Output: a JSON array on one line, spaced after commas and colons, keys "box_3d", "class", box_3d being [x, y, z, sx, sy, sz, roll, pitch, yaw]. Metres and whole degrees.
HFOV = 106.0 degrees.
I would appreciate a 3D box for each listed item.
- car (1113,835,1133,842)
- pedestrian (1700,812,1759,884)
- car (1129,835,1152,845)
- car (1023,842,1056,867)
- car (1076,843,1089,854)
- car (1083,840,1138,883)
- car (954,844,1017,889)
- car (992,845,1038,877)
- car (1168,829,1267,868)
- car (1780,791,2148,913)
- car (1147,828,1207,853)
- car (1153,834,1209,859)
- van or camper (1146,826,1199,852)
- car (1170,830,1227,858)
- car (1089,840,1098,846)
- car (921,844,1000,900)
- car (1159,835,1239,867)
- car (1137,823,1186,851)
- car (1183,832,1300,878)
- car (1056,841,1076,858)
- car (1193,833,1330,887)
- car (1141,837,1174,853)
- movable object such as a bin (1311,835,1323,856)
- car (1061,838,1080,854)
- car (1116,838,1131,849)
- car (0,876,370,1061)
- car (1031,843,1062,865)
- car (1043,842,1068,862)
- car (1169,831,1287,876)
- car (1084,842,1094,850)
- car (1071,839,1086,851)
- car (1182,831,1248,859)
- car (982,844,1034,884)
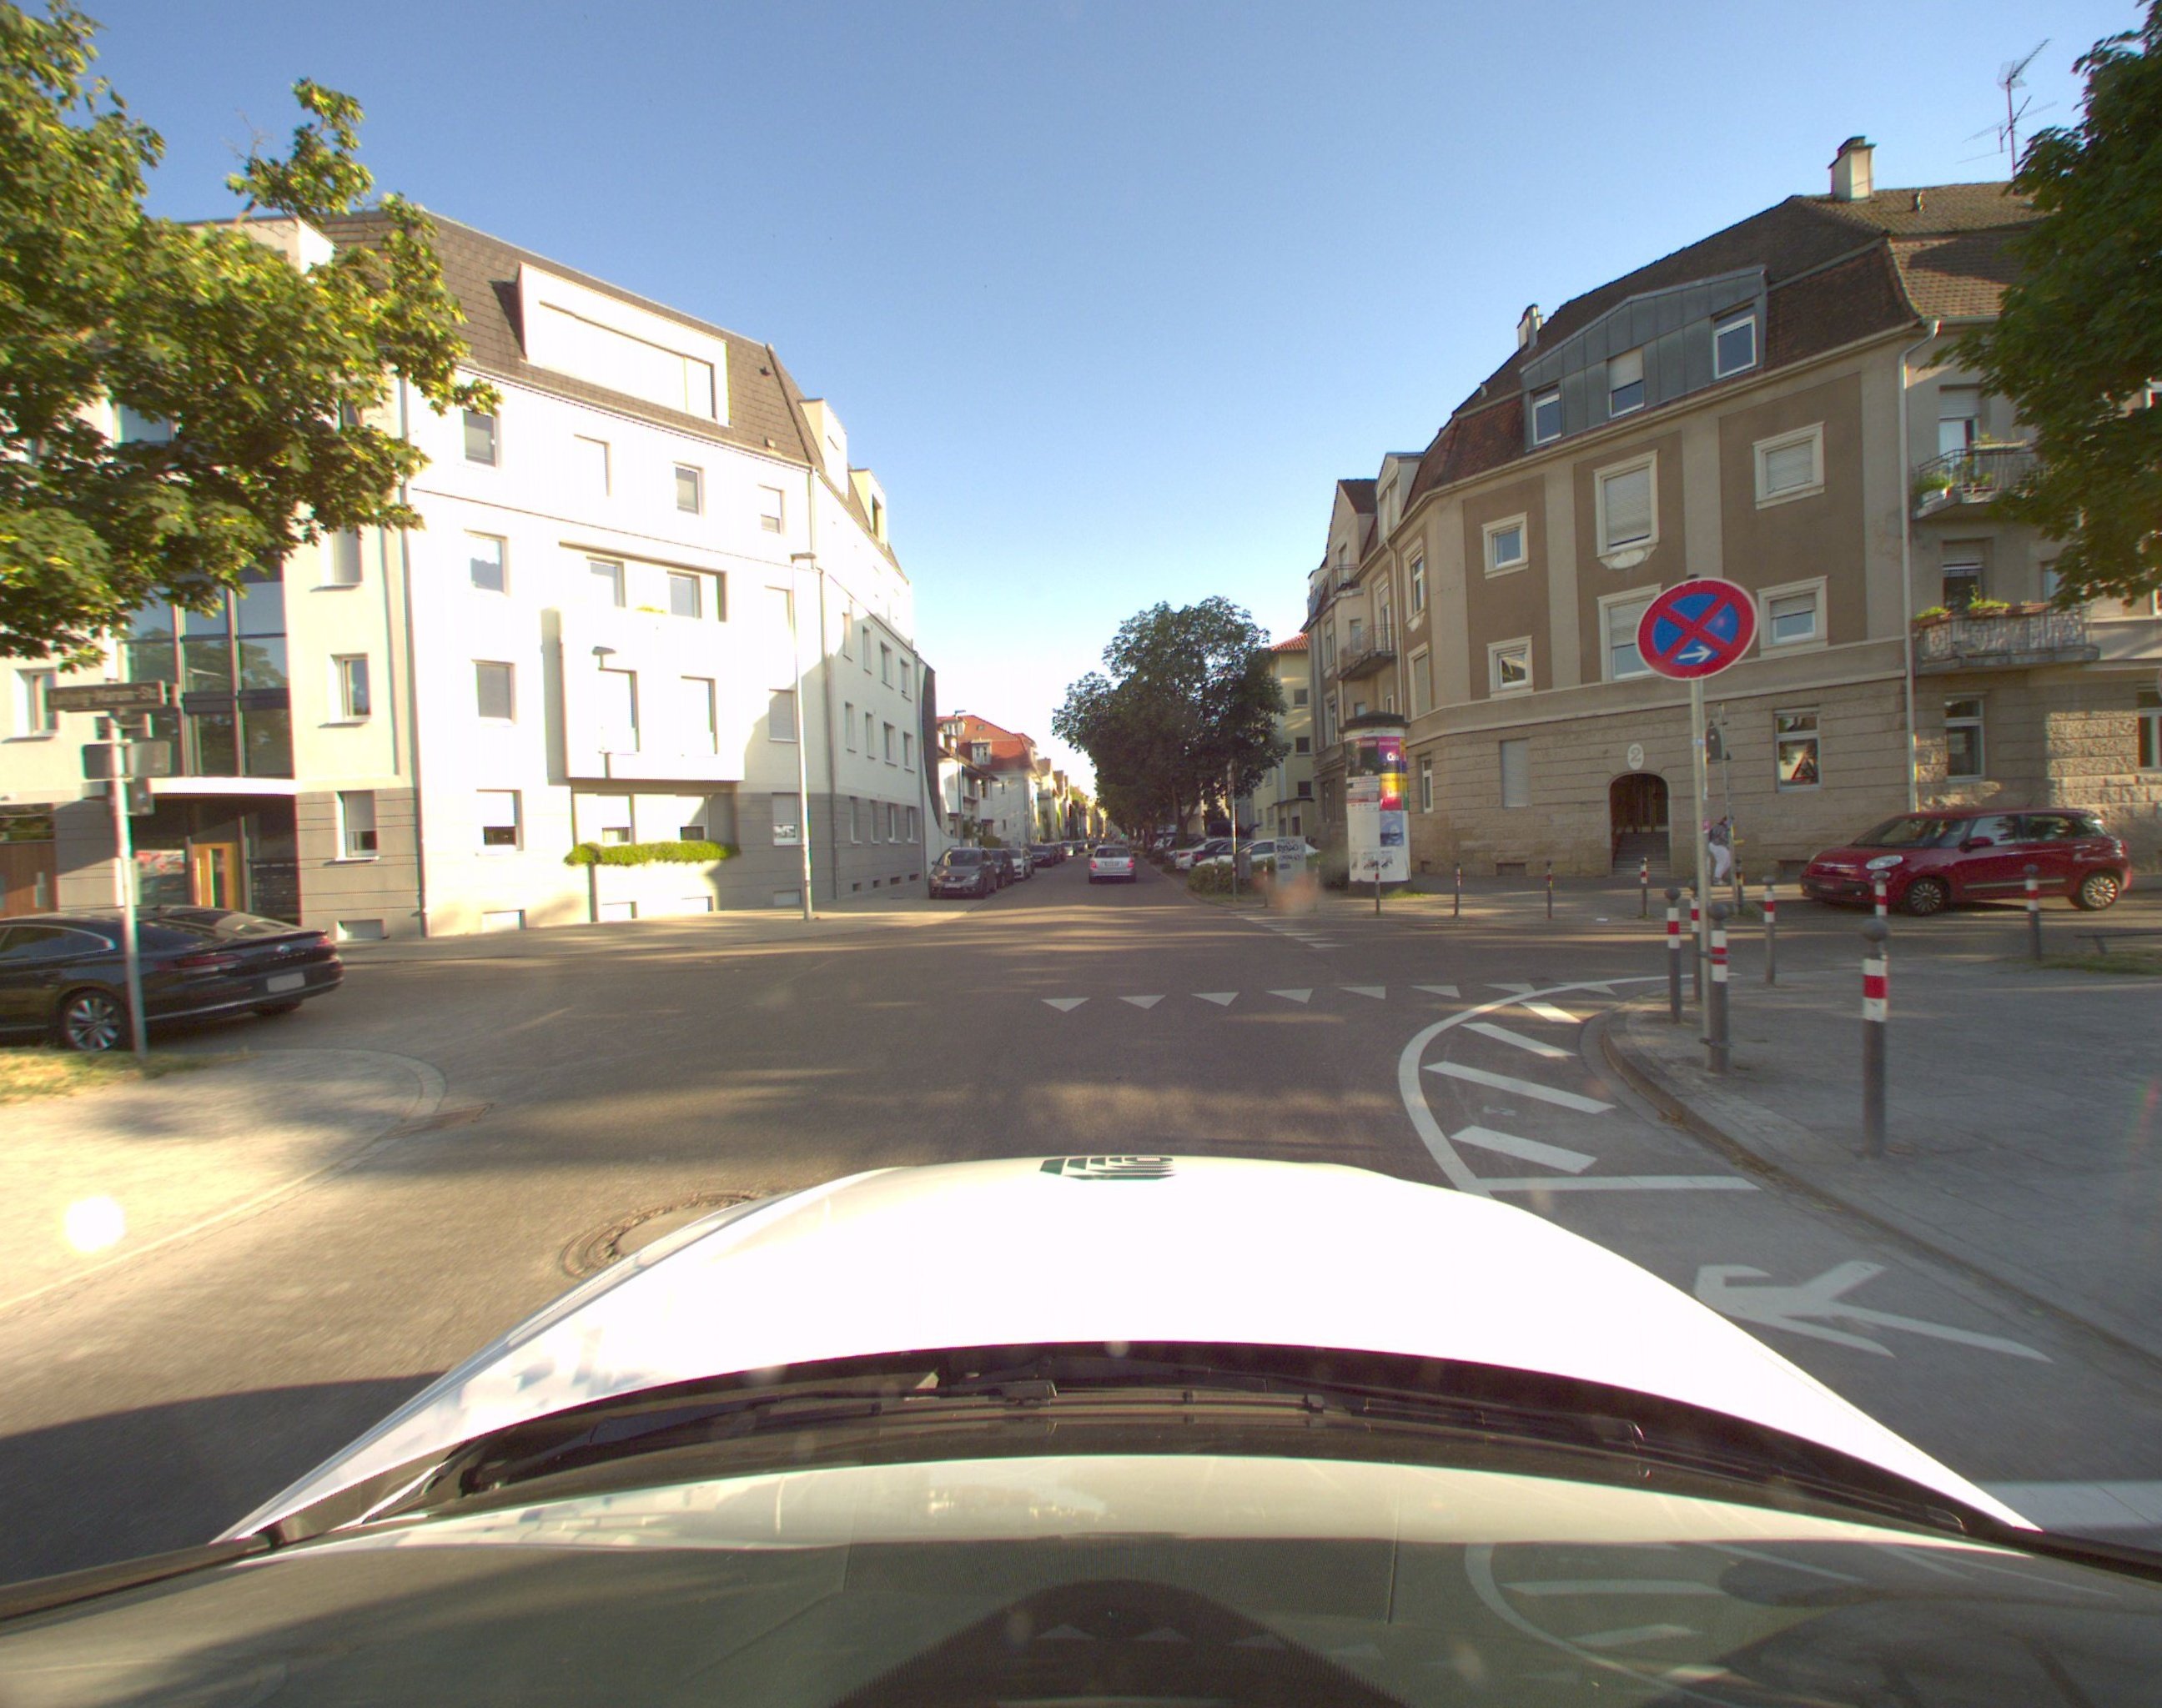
[{"box_3d": [9.396, -3.441, 181.162, 4.215, 1.474, 1.544, -2, 0, 35], "class": "car"}, {"box_3d": [14.428, -0.142, 18.139, 0.811, 1.544, 0.746, -2, 2, 21], "class": "pedestrian"}, {"box_3d": [10.273, -2.367, 139.792, 3.828, 1.482, 1.807, -3, 1, 3], "class": "car"}, {"box_3d": [-2.653, 0.035, 53.099, 1.848, 1.497, 4.654, -2, 1, 0], "class": "car"}, {"box_3d": [0.261, -0.888, 123.272, 1.792, 1.482, 3.860, -2, 1, 2], "class": "car"}, {"box_3d": [1.203, 0.271, 31.268, 1.808, 1.473, 4.222, -2, 0, 5], "class": "car"}, {"box_3d": [-3.653, 0.436, 31.867, 1.878, 1.591, 4.090, -2, 1, 0], "class": "car"}, {"box_3d": [-3.285, 0.324, 41.255, 1.751, 1.447, 4.145, -2, 1, 3], "class": "car"}, {"box_3d": [6.585, -0.281, 39.620, 4.510, 1.640, 1.875, -3, 1, 1], "class": "car"}, {"box_3d": [14.503, -0.064, 13.597, 4.056, 1.740, 1.814, -2, 3, 3], "class": "car"}, {"box_3d": [7.729, -1.121, 65.767, 4.608, 1.836, 1.955, -2, 1, 2], "class": "car"}, {"box_3d": [6.988, -0.518, 57.330, 3.717, 1.558, 1.726, -3, 1, 1], "class": "car"}, {"box_3d": [7.673, -1.271, 68.155, 4.292, 2.013, 2.003, -2, 1, 5], "class": "van or camper"}, {"box_3d": [7.868, -0.677, 54.734, 3.535, 1.654, 1.726, -3, 1, 1], "class": "car"}, {"box_3d": [2.857, -2.589, 188.139, 1.792, 1.387, 3.609, -2, 1, 2], "class": "car"}, {"box_3d": [-3.806, 0.525, 26.447, 1.878, 1.591, 4.090, -2, 1, 0], "class": "car"}, {"box_3d": [6.618, -0.207, 45.974, 4.175, 1.558, 1.875, -3, 1, 1], "class": "car"}, {"box_3d": [9.559, -2.042, 96.844, 5.524, 2.968, 2.472, -3, 1, 0], "class": "car"}, {"box_3d": [6.132, 0.024, 31.366, 4.128, 1.448, 1.674, -4, 1, 1], "class": "car"}, {"box_3d": [-1.440, -0.446, 79.515, 1.652, 1.499, 3.757, -2, 1, 3], "class": "car"}, {"box_3d": [5.786, 0.173, 26.503, 4.034, 1.505, 1.862, -3, 1, 1], "class": "car"}, {"box_3d": [8.791, -1.059, 93.915, 3.583, 1.659, 1.650, -3, 1, 0], "class": "car"}, {"box_3d": [12.514, -0.464, 43.211, 0.454, 1.086, 0.533, -2, -1, 3], "class": "movable object such as a bin"}, {"box_3d": [-1.081, -0.899, 88.916, 1.792, 1.644, 3.860, -2, 1, 2], "class": "car"}, {"box_3d": [5.870, -1.430, 111.852, 1.808, 1.473, 4.222, -2, 0, 5], "class": "car"}, {"box_3d": [-10.959, 1.198, 8.906, 4.803, 1.669, 1.790, -2, 0, 3], "class": "car"}, {"box_3d": [-2.454, -0.032, 59.361, 1.776, 1.497, 4.703, -2, 1, 3], "class": "car"}, {"box_3d": [-2.039, -0.144, 65.045, 1.652, 1.488, 3.757, -2, 1, 3], "class": "car"}, {"box_3d": [6.086, -0.046, 34.019, 4.467, 1.525, 1.952, -4, 2, -4], "class": "car"}, {"box_3d": [1.469, -1.502, 147.029, 1.792, 1.387, 3.609, -2, 1, 2], "class": "car"}, {"box_3d": [-0.327, -1.237, 107.203, 1.792, 1.482, 3.860, -2, 1, 2], "class": "car"}, {"box_3d": [8.478, -0.583, 51.794, 3.908, 1.558, 1.727, -3, 1, 4], "class": "car"}, {"box_3d": [-3.179, 0.388, 36.416, 1.878, 1.591, 4.090, -2, 1, 0], "class": "car"}]
